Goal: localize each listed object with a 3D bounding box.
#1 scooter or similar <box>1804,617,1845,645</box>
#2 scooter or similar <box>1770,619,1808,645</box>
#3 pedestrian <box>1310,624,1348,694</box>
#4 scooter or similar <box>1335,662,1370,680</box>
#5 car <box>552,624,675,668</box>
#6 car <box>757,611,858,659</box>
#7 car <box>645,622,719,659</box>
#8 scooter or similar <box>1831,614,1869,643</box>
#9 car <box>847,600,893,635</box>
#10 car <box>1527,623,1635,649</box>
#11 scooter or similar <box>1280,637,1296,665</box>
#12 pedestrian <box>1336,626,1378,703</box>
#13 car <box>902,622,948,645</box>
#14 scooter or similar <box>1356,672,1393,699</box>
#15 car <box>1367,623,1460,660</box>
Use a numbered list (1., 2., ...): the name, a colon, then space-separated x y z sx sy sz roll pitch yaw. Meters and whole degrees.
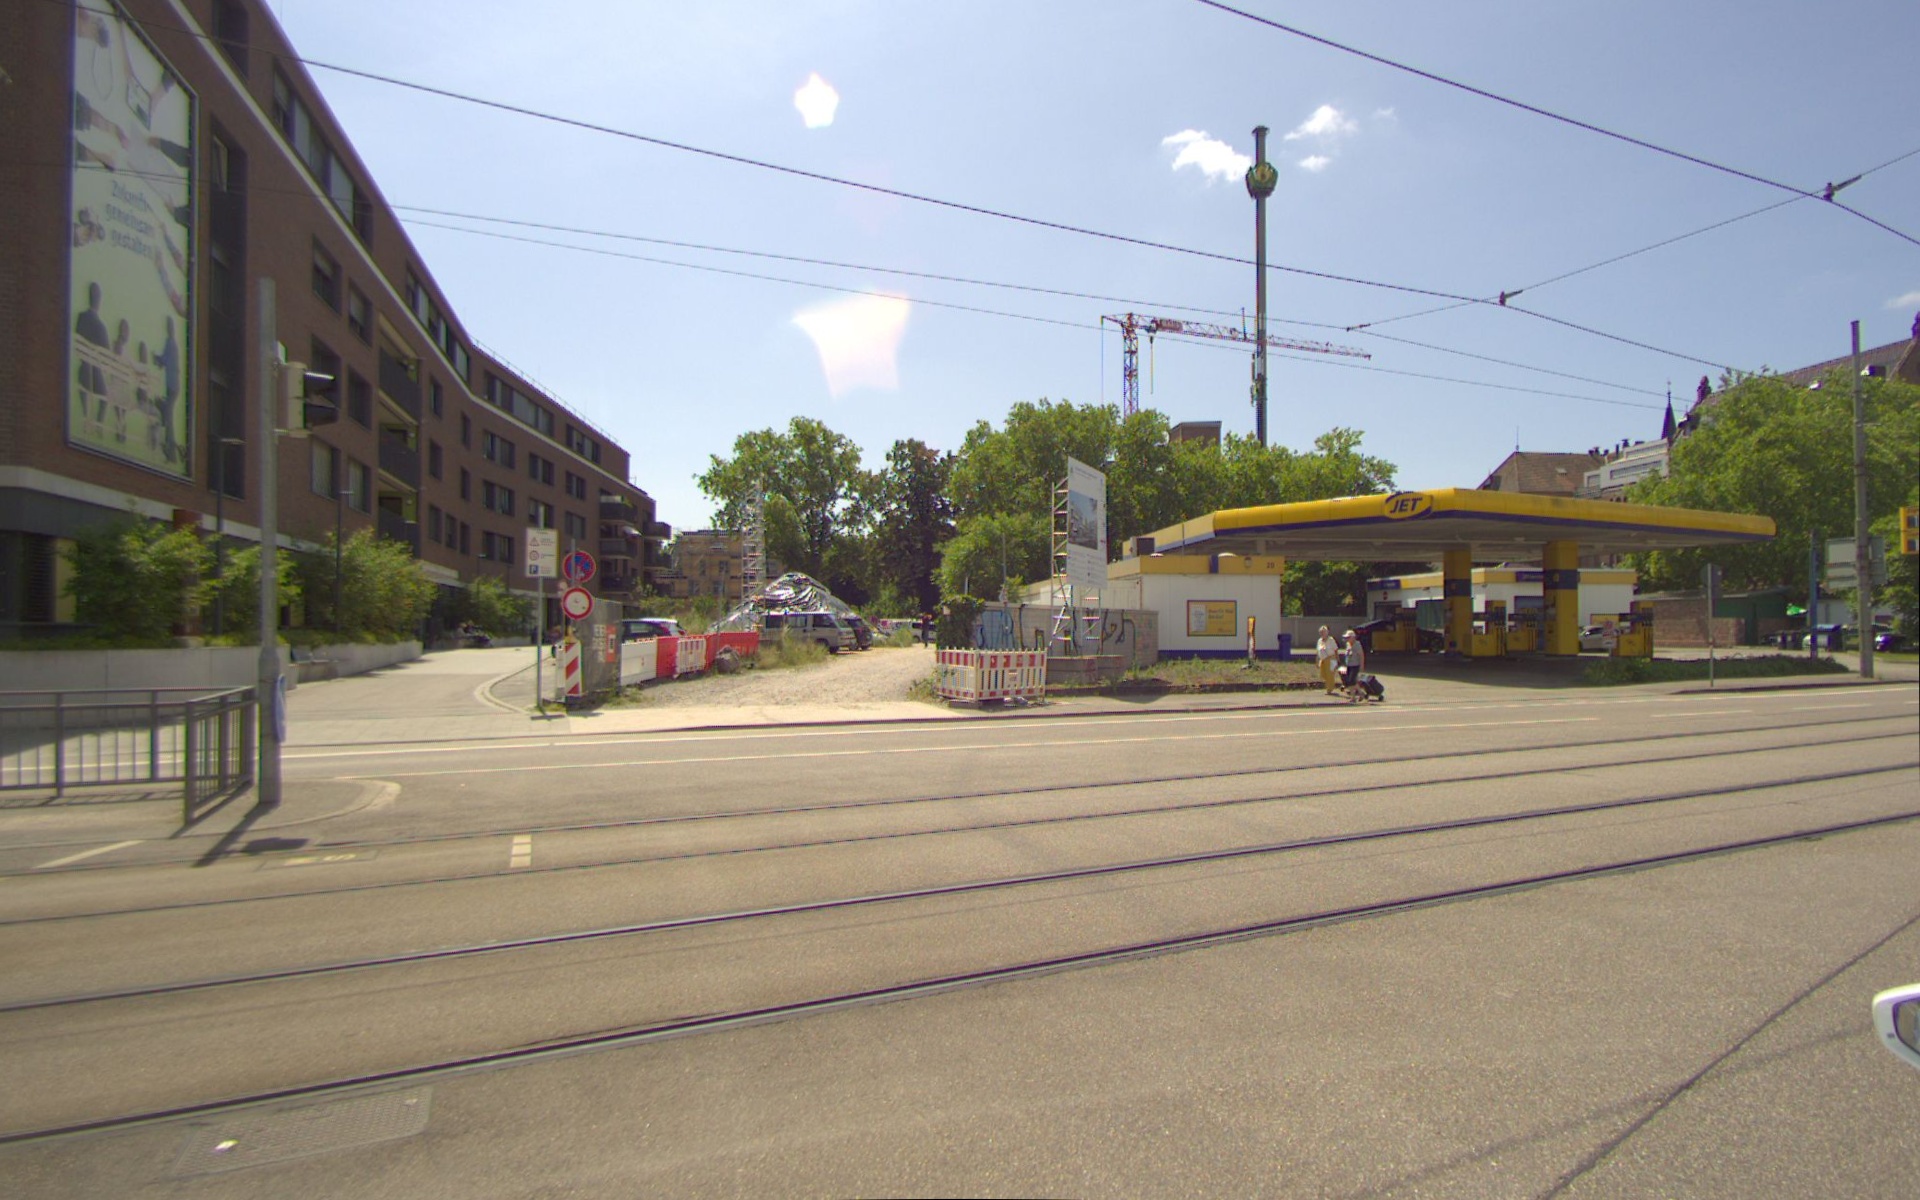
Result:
1. scooter or similar: 46.622 1.691 54.167 1.042 1.486 1.313 1 -2 -19
2. scooter or similar: 46.465 1.783 56.304 1.042 1.486 1.313 0 -1 -19
3. pedestrian: 8.930 1.418 24.336 0.663 1.680 0.551 0 -1 -23
4. scooter or similar: 9.623 1.737 24.608 0.663 0.400 0.472 0 -1 -23
5. car: -11.755 1.535 34.140 3.851 1.398 1.621 0 -1 -21
6. car: -6.655 1.538 43.942 3.919 2.040 2.001 -1 -2 15
7. car: -10.887 1.579 39.361 2.697 1.398 1.219 0 -1 -21
8. scooter or similar: 46.594 1.518 52.619 1.045 1.486 1.169 1 -2 -25
9. car: -5.156 1.000 57.427 2.563 1.928 0.708 0 -1 -15
10. car: 33.577 1.945 54.336 4.916 1.383 1.839 0 -2 -7
11. scooter or similar: 11.095 1.725 33.994 0.323 0.942 0.404 0 -1 -28
12. pedestrian: 8.926 1.442 22.608 0.657 1.693 0.579 0 -1 -22
13. car: -2.703 2.576 77.433 3.255 1.771 1.651 0 -1 -18
14. scooter or similar: 9.534 1.961 23.110 0.621 0.588 0.475 0 -1 -20
15. car: 21.666 1.981 48.038 3.698 1.725 1.603 0 -3 -5
